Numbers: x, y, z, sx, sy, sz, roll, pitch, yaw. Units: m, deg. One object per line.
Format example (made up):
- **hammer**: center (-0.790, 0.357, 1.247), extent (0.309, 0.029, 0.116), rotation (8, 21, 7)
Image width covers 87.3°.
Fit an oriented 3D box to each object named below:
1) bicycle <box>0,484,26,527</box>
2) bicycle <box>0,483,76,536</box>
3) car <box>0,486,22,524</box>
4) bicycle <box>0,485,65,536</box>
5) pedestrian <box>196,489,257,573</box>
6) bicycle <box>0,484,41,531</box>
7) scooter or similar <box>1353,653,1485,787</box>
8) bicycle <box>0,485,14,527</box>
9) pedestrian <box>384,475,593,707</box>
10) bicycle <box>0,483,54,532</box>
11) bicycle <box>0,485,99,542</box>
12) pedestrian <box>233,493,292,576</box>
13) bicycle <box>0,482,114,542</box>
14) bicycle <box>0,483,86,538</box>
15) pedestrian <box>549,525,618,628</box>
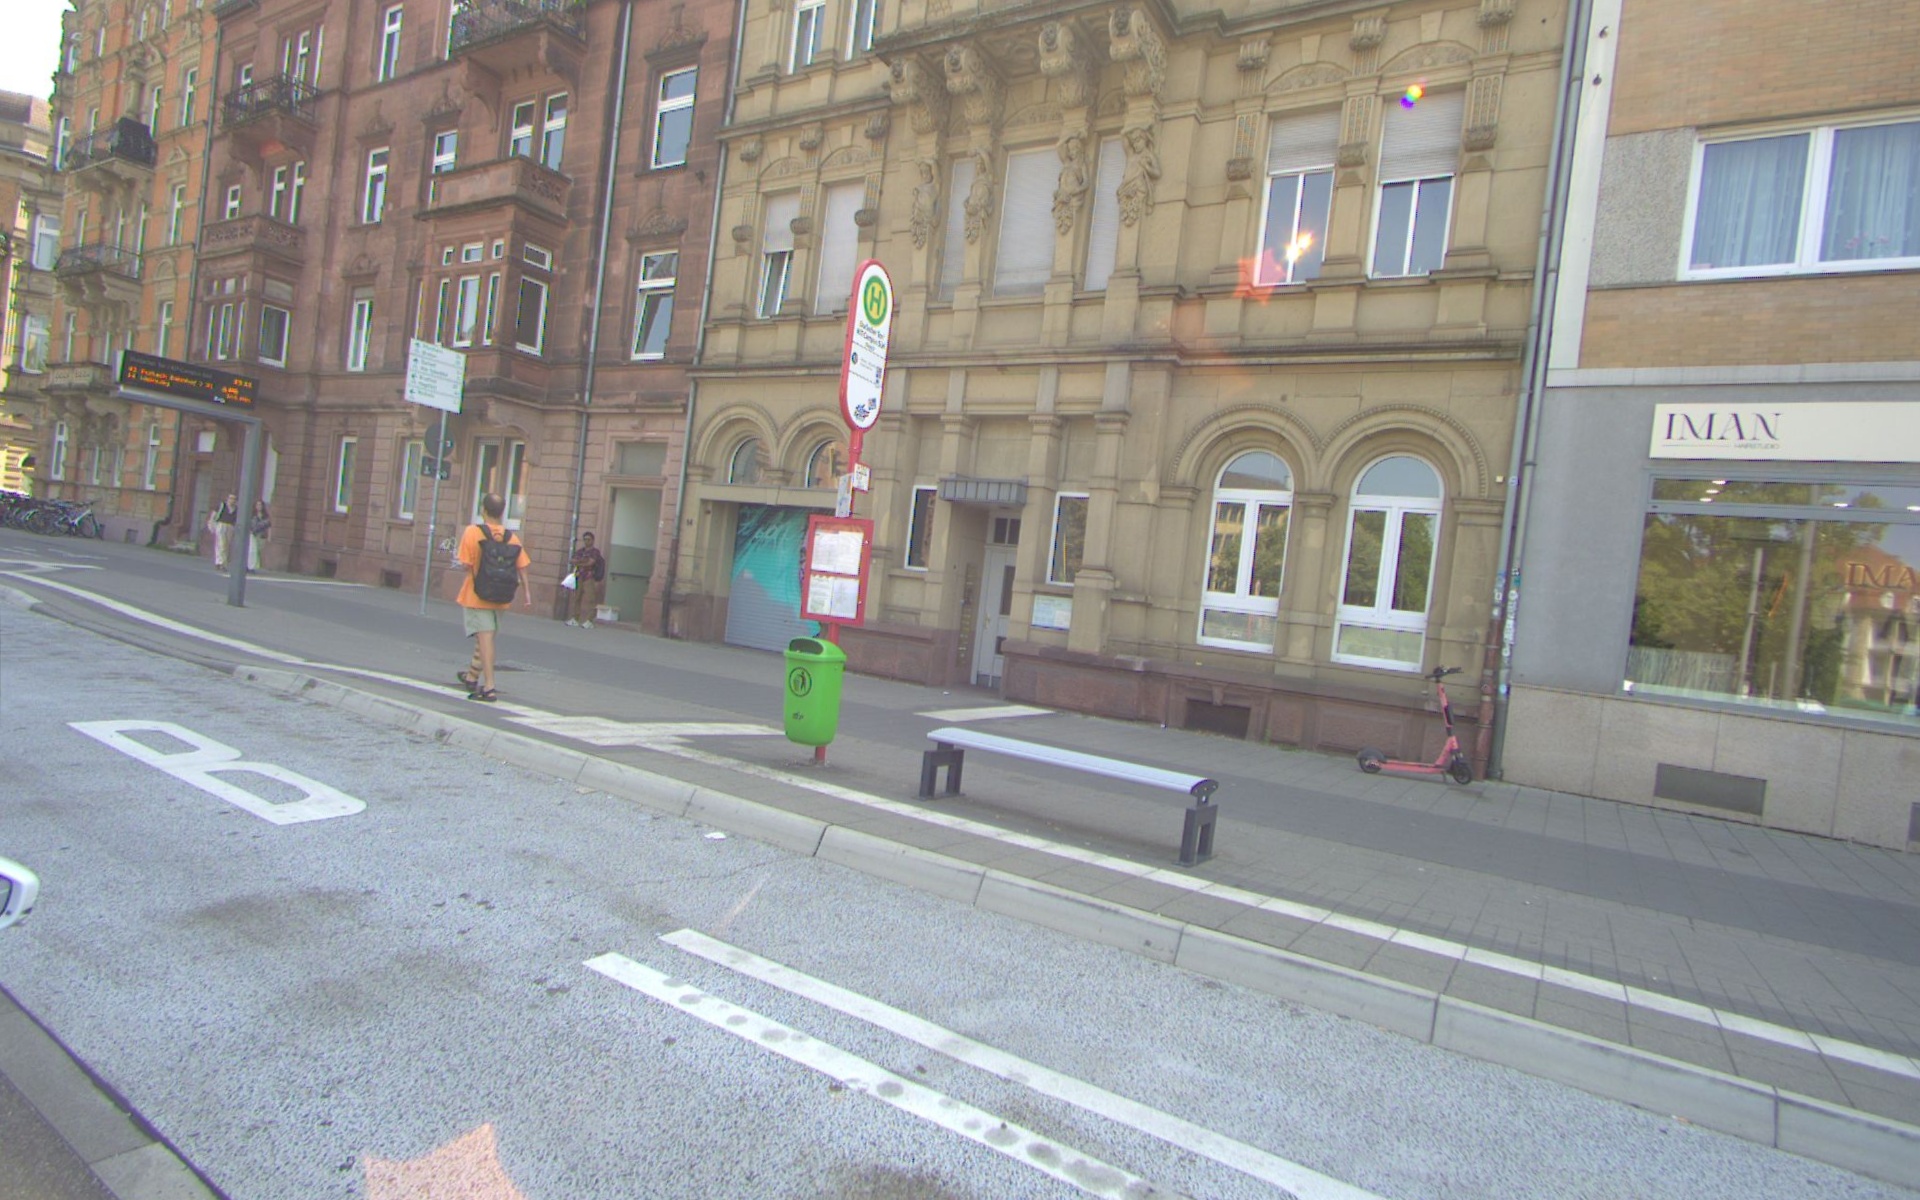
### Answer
- **bicycle**: center (-33.076, -3.314, 33.274), extent (0.932, 1.390, 3.007), rotation (7, 0, 31)
- **bicycle**: center (-29.421, -2.877, 31.063), extent (0.857, 1.388, 2.997), rotation (7, 0, 31)
- **car**: center (-42.000, -4.232, 41.868), extent (1.652, 1.539, 3.942), rotation (7, 0, 24)
- **bicycle**: center (-30.211, -2.900, 31.554), extent (0.932, 1.390, 3.007), rotation (6, 0, 31)
- **pedestrian**: center (-16.812, -1.571, 23.057), extent (0.833, 1.798, 0.715), rotation (7, 1, 31)
- **bicycle**: center (-31.967, -3.151, 32.623), extent (0.932, 1.390, 3.007), rotation (7, 0, 31)
- **scooter or similar**: center (4.882, 1.255, 10.718), extent (1.122, 1.228, 0.476), rotation (7, 1, 27)
- **bicycle**: center (-33.967, -3.364, 33.782), extent (0.932, 1.390, 3.007), rotation (7, 0, 31)
- **pedestrian**: center (-3.964, -0.071, 8.463), extent (1.220, 1.762, 0.964), rotation (7, 0, 37)
- **bicycle**: center (-31.105, -3.083, 32.131), extent (0.932, 1.390, 3.007), rotation (7, 0, 31)
- **bicycle**: center (-27.877, -2.630, 30.112), extent (0.857, 1.388, 2.997), rotation (7, 0, 31)
- **pedestrian**: center (-16.415, -1.539, 23.683), extent (0.856, 1.800, 0.715), rotation (7, 1, 30)
- **bicycle**: center (-27.067, -2.612, 29.720), extent (0.857, 1.388, 2.997), rotation (7, 0, 31)
- **bicycle**: center (-28.648, -2.776, 30.551), extent (0.857, 1.388, 2.997), rotation (7, 0, 31)
- **pedestrian**: center (-7.036, -0.423, 18.820), extent (0.729, 1.800, 0.870), rotation (7, 1, 4)
